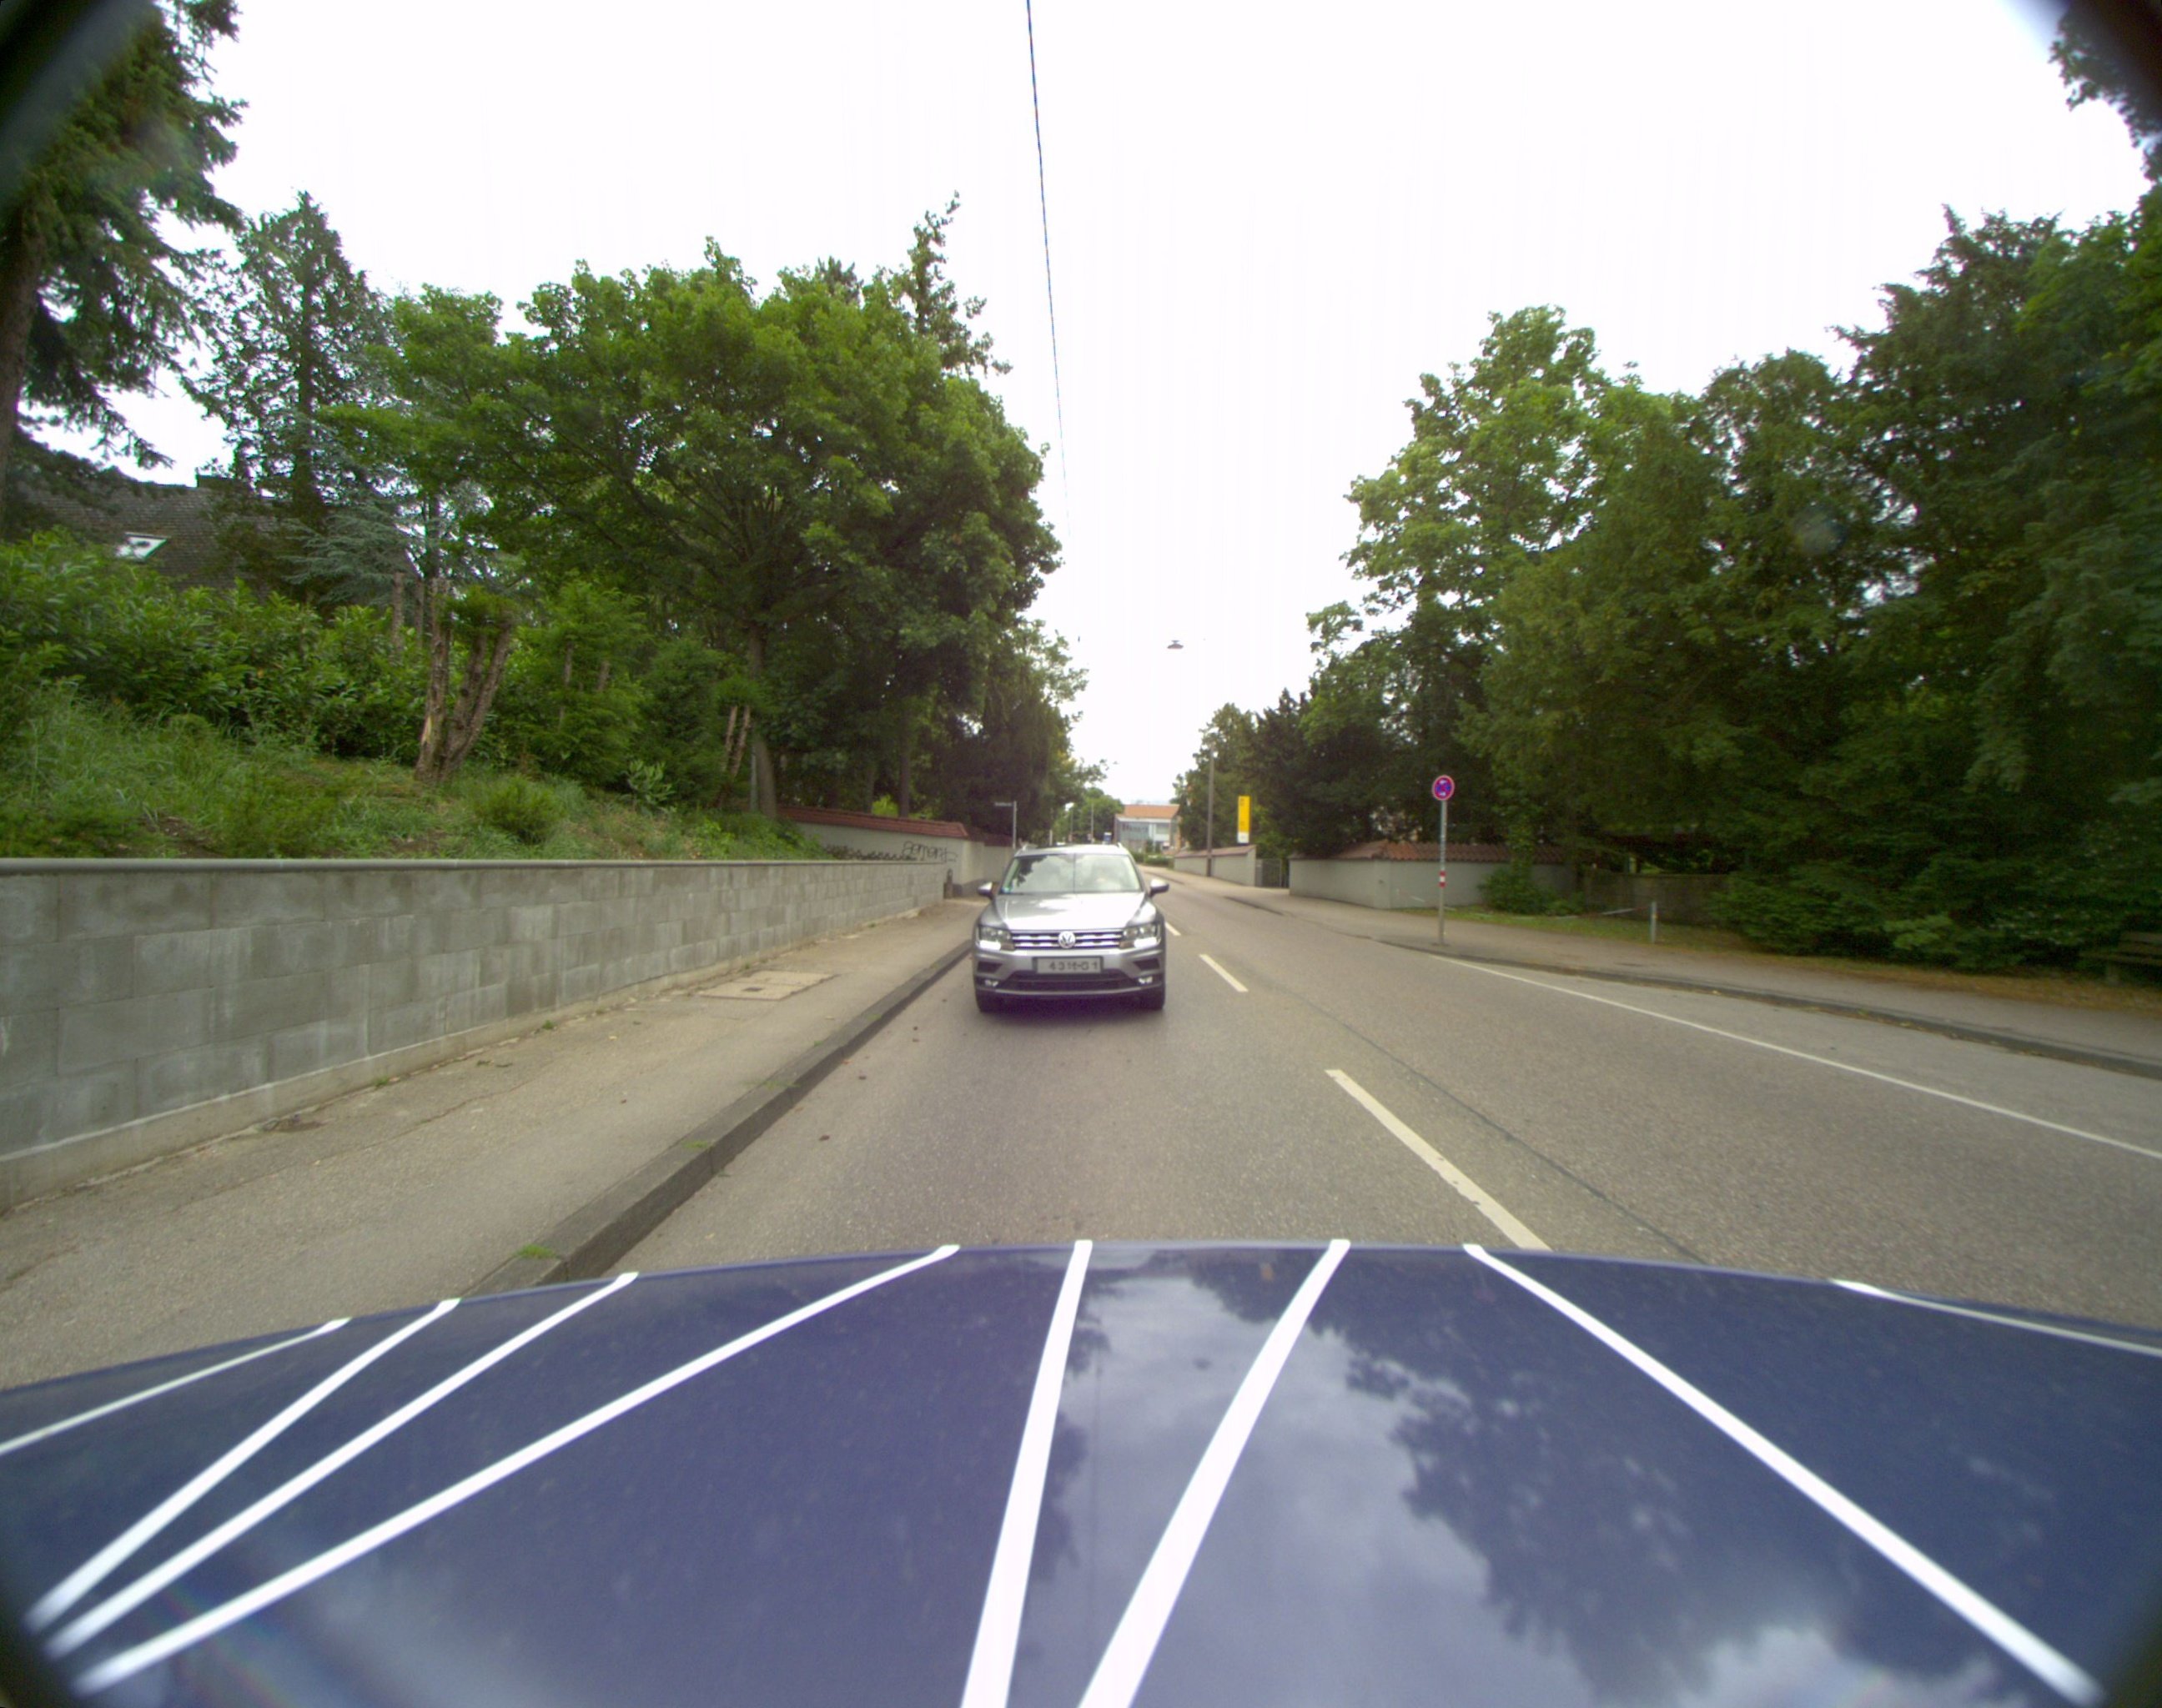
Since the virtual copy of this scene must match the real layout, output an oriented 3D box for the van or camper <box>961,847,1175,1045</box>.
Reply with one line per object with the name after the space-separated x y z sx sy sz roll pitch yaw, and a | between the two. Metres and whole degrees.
-0.088 0.771 8.522 1.800 1.663 4.198 0 0 1 | van or camper
